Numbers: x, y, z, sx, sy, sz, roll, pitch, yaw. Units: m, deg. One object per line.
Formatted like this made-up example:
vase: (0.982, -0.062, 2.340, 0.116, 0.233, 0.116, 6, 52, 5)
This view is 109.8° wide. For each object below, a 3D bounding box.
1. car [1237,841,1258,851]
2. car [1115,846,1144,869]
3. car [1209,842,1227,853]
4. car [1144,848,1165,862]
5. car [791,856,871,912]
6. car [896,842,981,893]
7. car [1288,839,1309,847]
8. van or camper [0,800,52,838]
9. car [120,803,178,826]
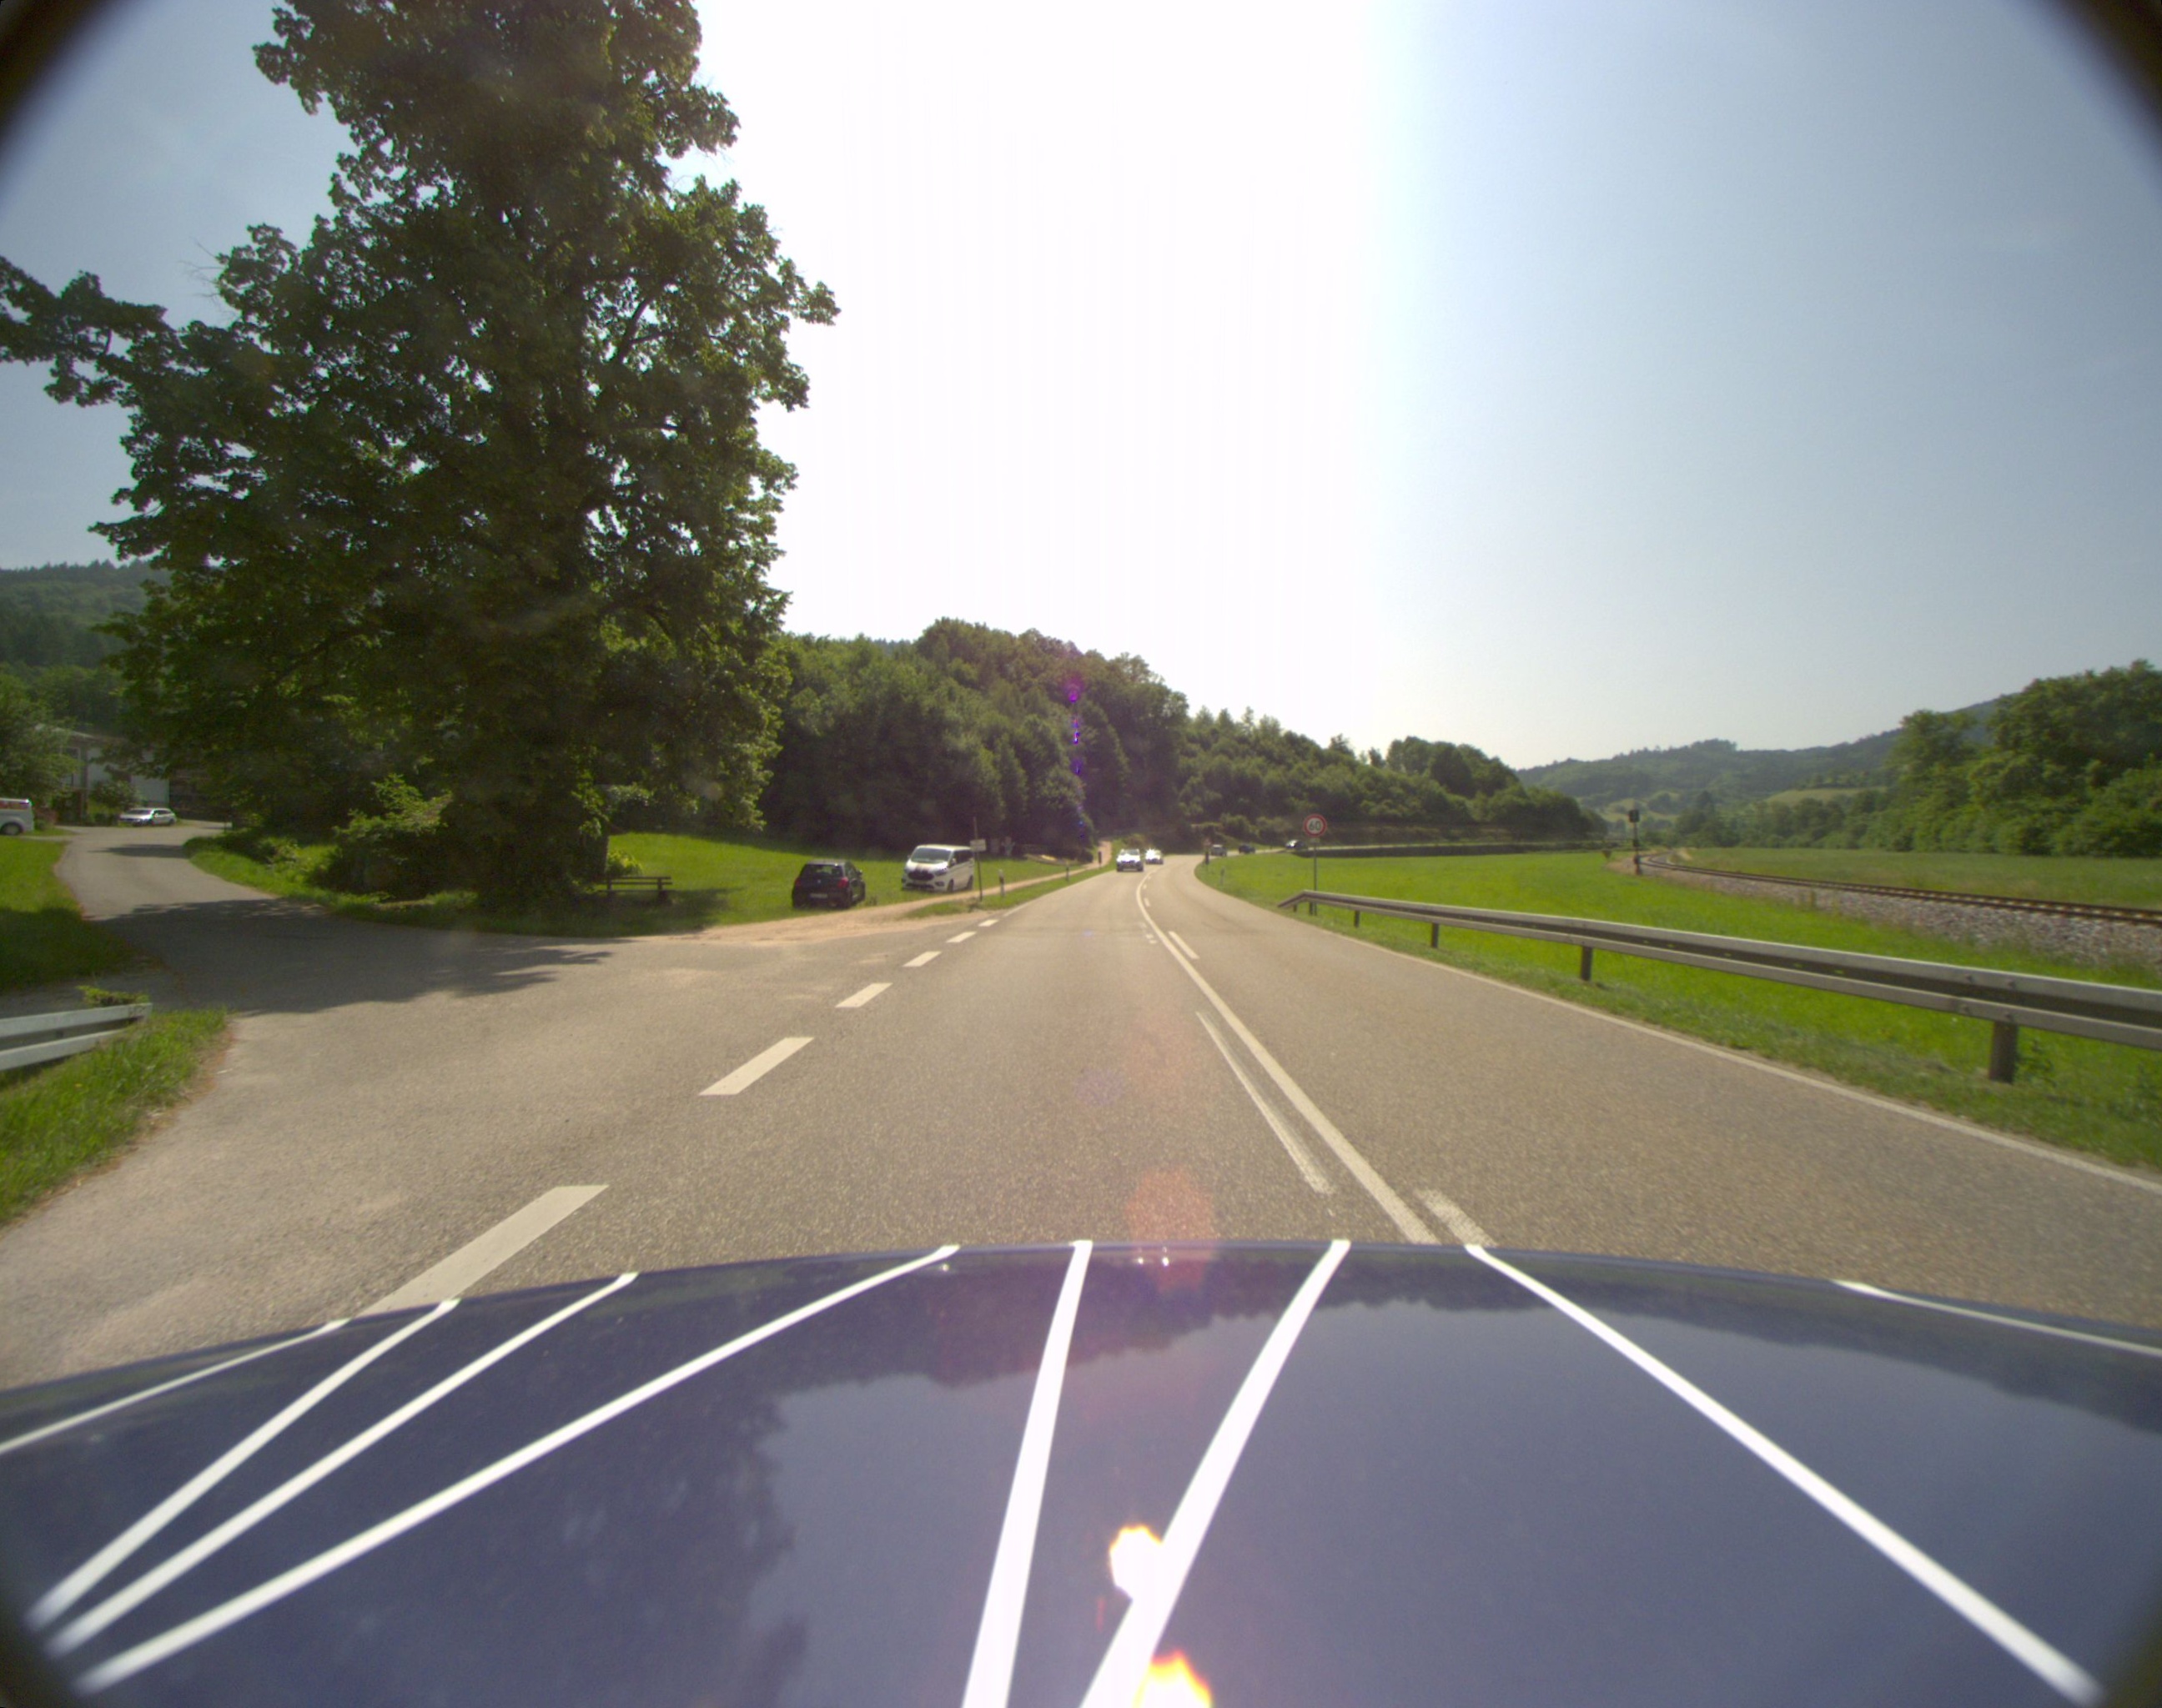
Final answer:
car: (29.105, -1.403, 132.576, 1.867, 1.614, 4.519, -3, -1, 36)
car: (3.942, 0.249, 61.169, 2.116, 1.804, 4.457, 0, 1, 7)
car: (21.642, -0.966, 119.996, 1.917, 1.704, 4.166, 1, 1, 21)
car: (7.922, 0.089, 81.793, 2.145, 1.482, 4.674, -1, 0, 7)
car: (-7.836, 0.887, 24.114, 1.679, 1.449, 3.712, 2, 2, -7)
car: (-5.932, 0.511, 32.286, 2.003, 1.838, 4.871, 5, 1, 7)
car: (42.849, -2.250, 149.407, 4.519, 1.462, 1.917, -1, -1, -44)
van or camper: (-57.217, -1.832, 38.432, 2.814, 1.938, 5.438, 0, 0, 6)
car: (-72.710, -3.068, 59.330, 2.004, 1.608, 3.989, 0, 0, -38)
